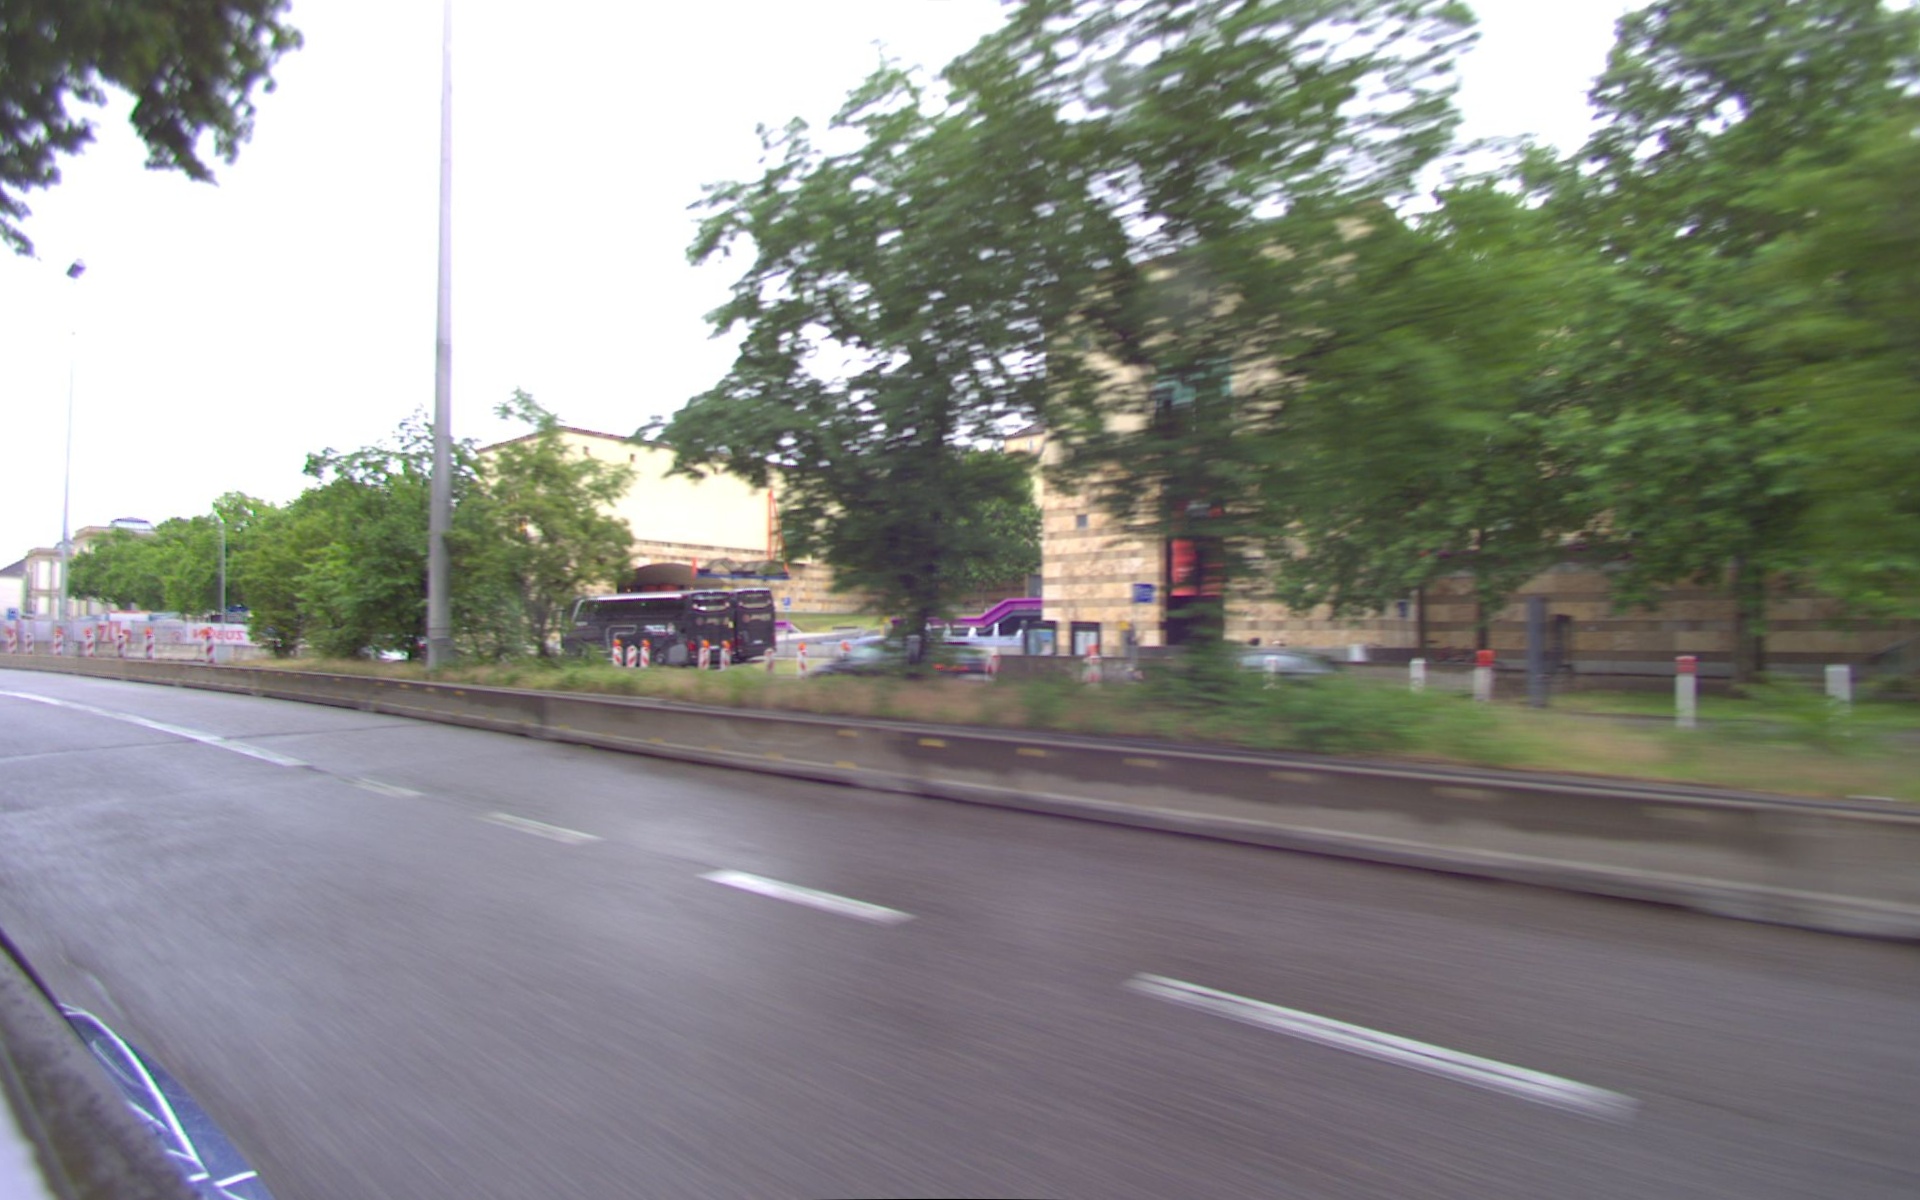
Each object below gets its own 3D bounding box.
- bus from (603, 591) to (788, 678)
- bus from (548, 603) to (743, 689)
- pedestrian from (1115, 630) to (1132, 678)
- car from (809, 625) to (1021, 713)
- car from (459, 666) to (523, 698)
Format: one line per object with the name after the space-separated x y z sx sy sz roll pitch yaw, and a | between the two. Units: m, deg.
-14.772 1.944 55.281 13.495 4.284 3.084 -3 -2 44 | bus
-16.452 2.349 51.622 14.599 3.840 2.773 -3 -2 44 | bus
6.905 2.272 42.646 0.511 2.029 0.473 -2 -4 40 | pedestrian
-0.968 1.357 20.469 3.995 1.608 1.974 -3 -3 38 | car
-23.634 4.120 51.011 3.209 1.512 1.576 -2 -4 37 | car
